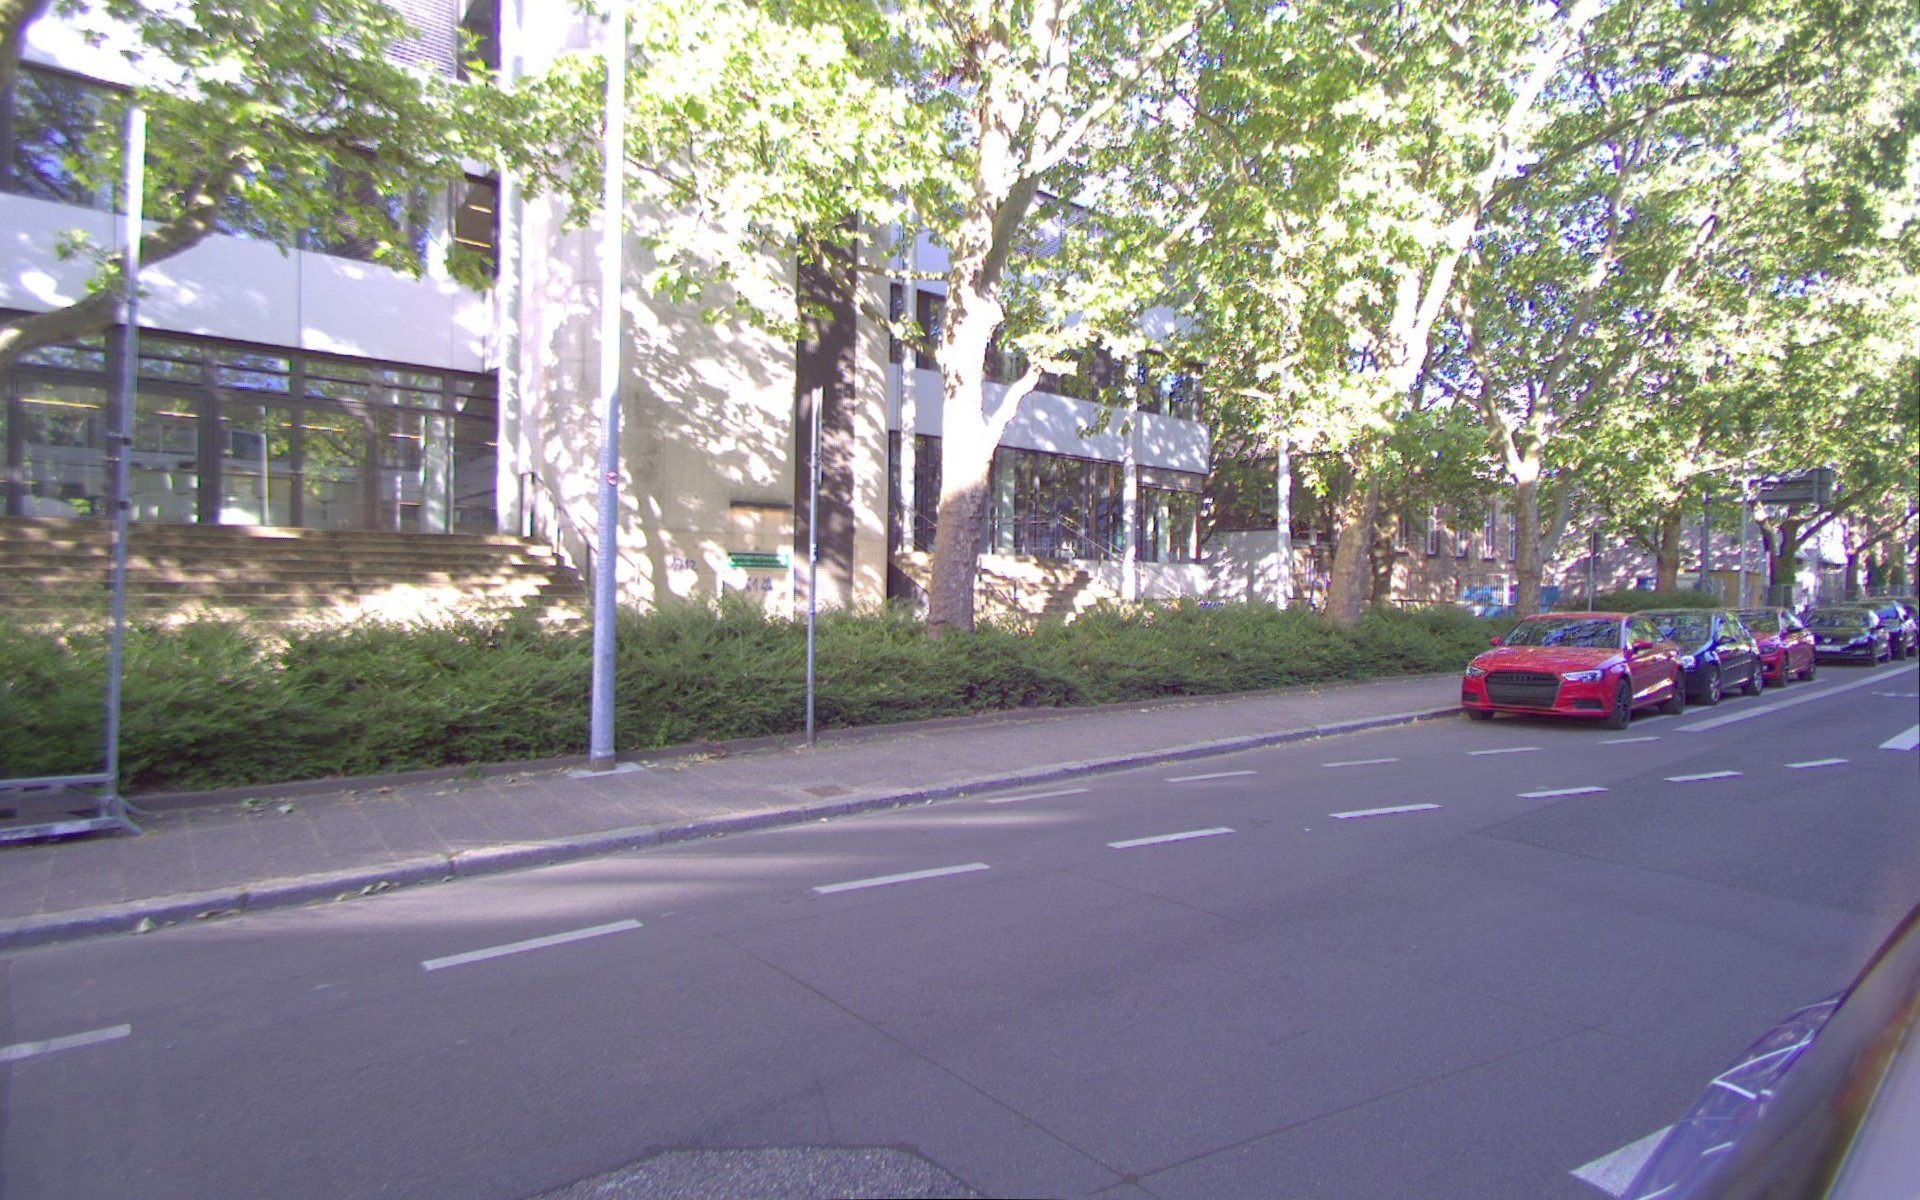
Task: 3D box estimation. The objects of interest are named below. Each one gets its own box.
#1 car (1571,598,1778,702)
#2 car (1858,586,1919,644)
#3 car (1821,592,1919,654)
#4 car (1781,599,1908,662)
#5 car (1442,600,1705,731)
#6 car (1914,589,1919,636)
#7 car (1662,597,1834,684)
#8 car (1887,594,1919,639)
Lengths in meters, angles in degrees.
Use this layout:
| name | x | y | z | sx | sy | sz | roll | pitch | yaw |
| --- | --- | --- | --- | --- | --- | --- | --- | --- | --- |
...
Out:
| name | x | y | z | sx | sy | sz | roll | pitch | yaw |
| --- | --- | --- | --- | --- | --- | --- | --- | --- | --- |
| car | 11.806 | 0.724 | 16.668 | 3.581 | 1.478 | 1.997 | -1 | 0 | -41 |
| car | 31.279 | 0.444 | 33.319 | 4.493 | 1.809 | 1.997 | -1 | 0 | -41 |
| car | 26.537 | 0.603 | 29.187 | 4.070 | 1.621 | 1.997 | -1 | 0 | -41 |
| car | 22.815 | 0.719 | 26.069 | 3.527 | 1.474 | 1.997 | -1 | 0 | -41 |
| car | 8.273 | 0.748 | 13.531 | 3.930 | 1.443 | 1.906 | -1 | 1 | -41 |
| car | 39.651 | 0.478 | 40.335 | 3.930 | 1.872 | 1.997 | -1 | 0 | -41 |
| car | 15.660 | 0.713 | 20.058 | 3.762 | 1.517 | 1.997 | -1 | 0 | -41 |
| car | 35.956 | 0.580 | 37.451 | 4.070 | 1.585 | 1.997 | -1 | 0 | -41 |
